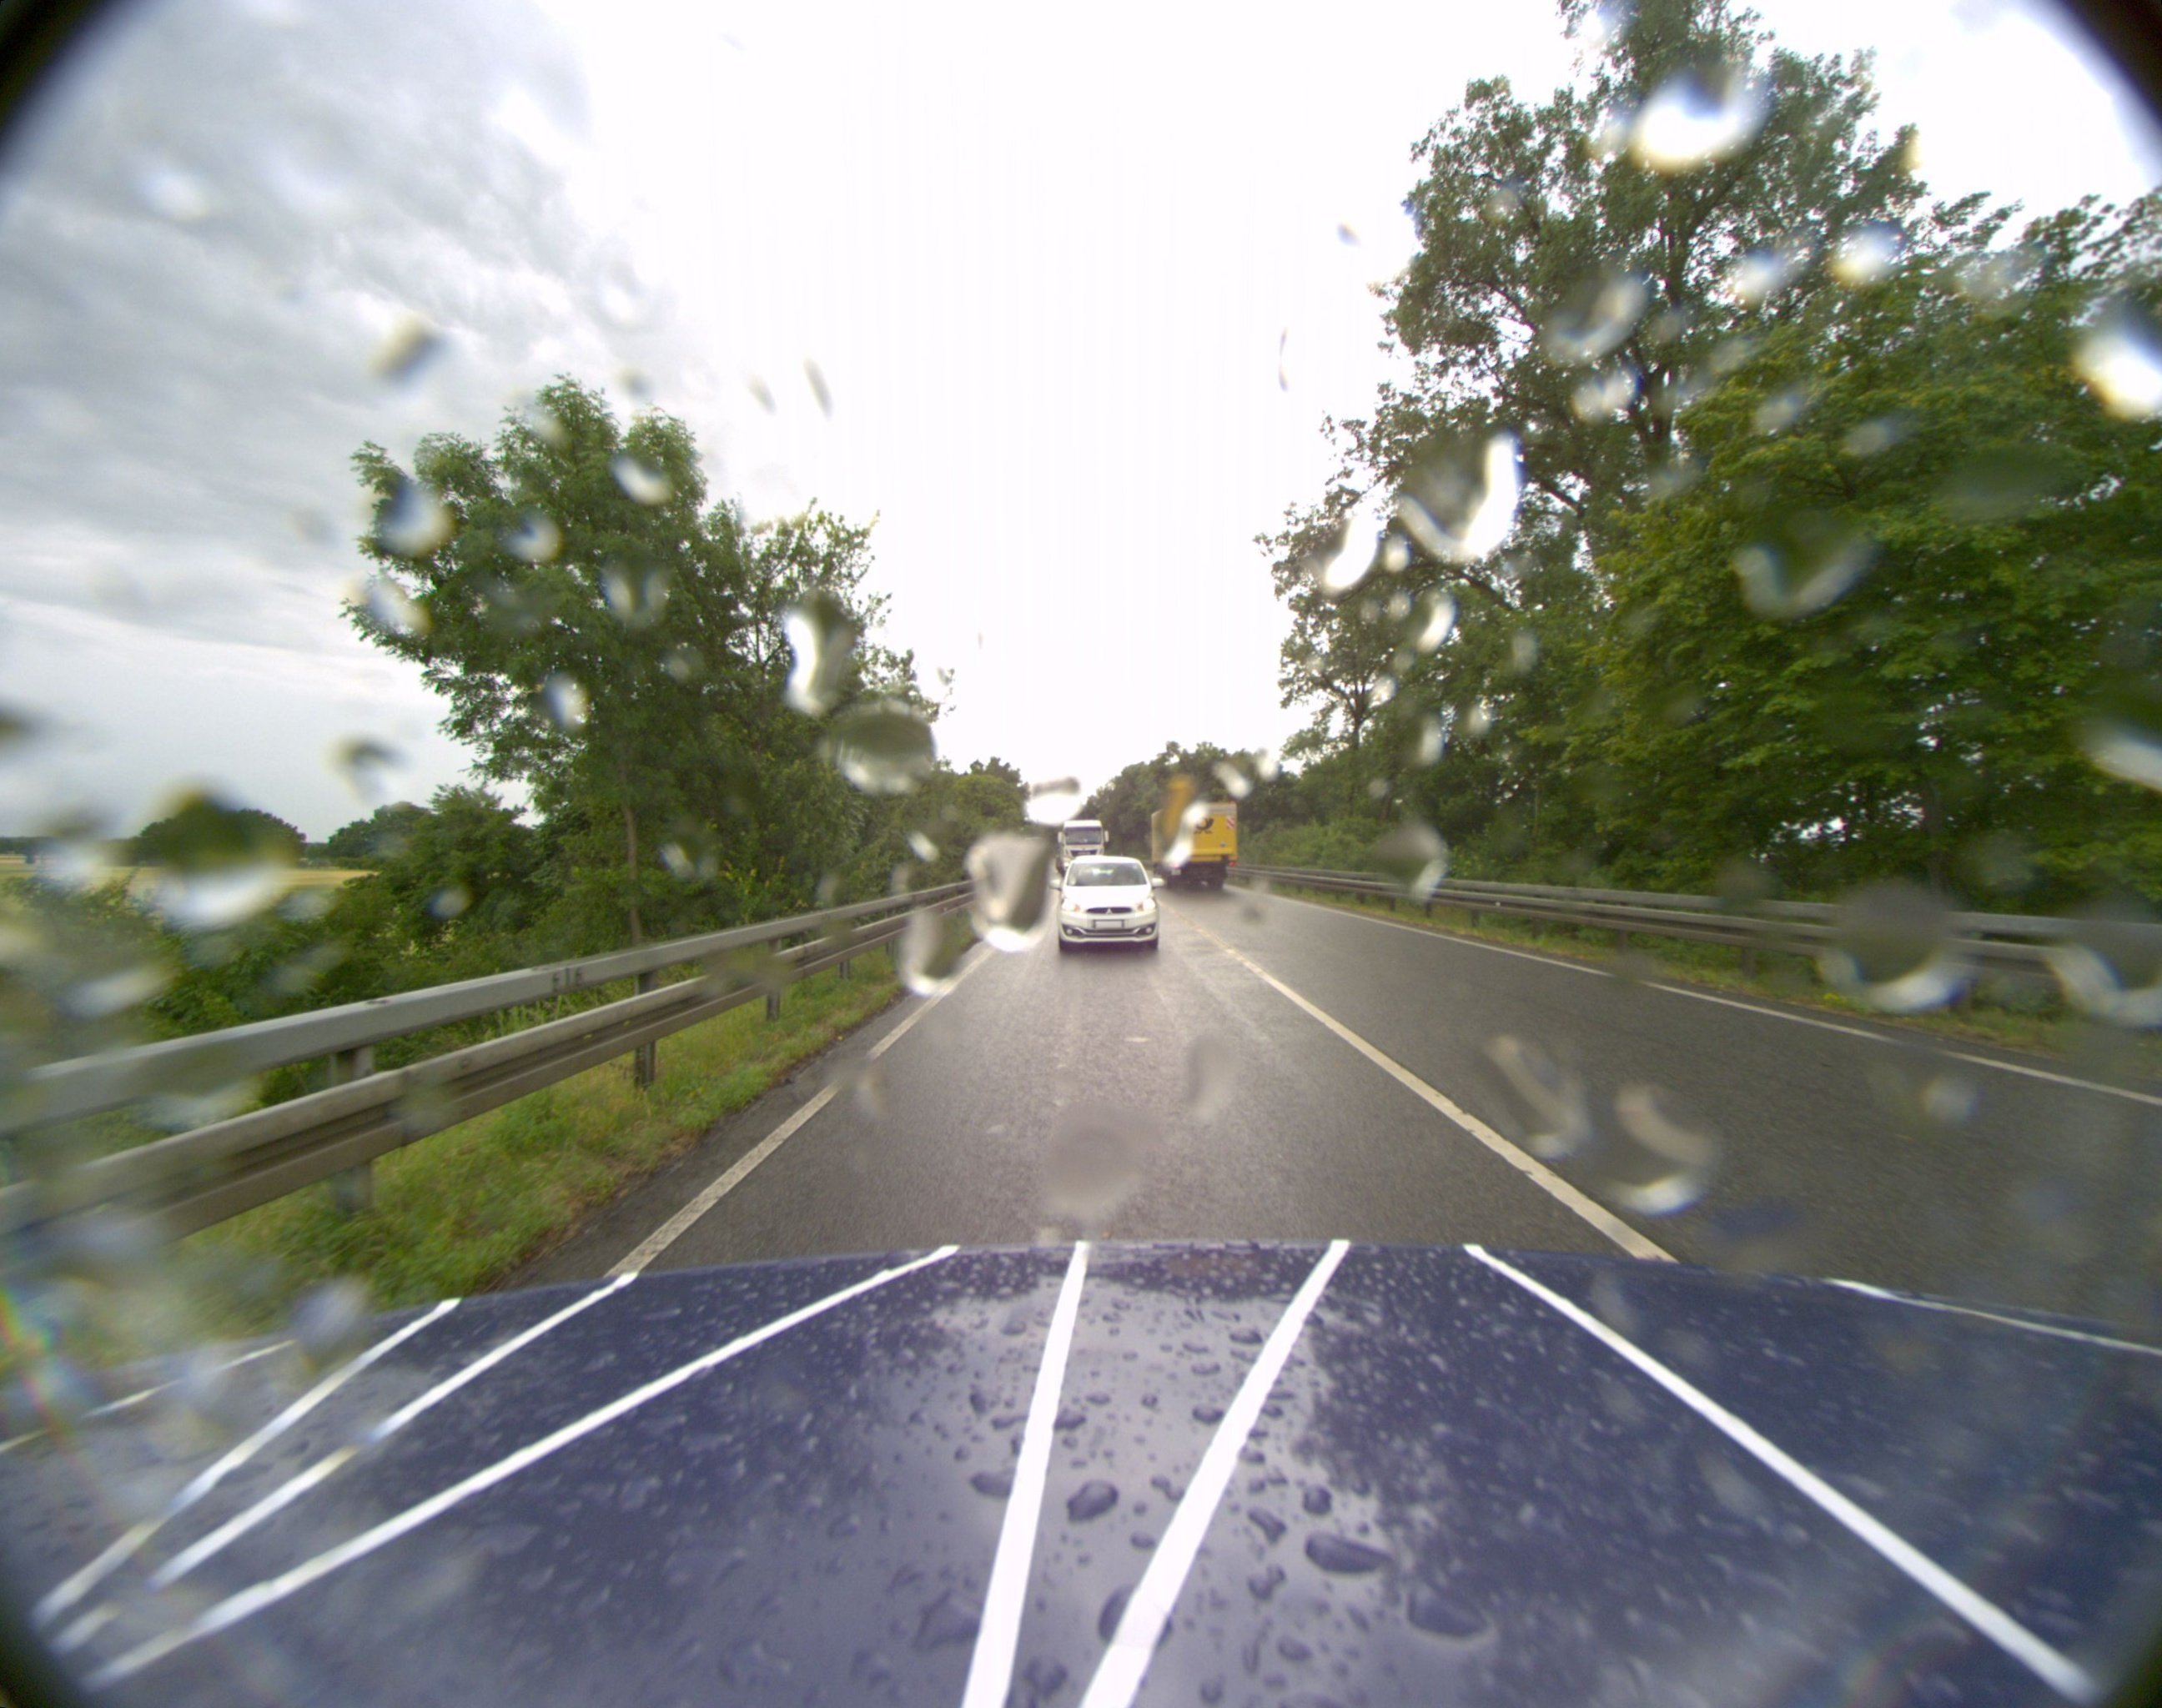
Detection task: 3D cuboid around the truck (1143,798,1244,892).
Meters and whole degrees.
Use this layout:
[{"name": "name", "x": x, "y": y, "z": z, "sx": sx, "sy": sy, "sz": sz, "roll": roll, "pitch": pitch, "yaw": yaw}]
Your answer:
[{"name": "truck", "x": 4.588, "y": -0.416, "z": 33.073, "sx": 2.778, "sy": 3.410, "sz": 9.184, "roll": -3, "pitch": 1, "yaw": -1}]

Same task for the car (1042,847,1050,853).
[{"name": "car", "x": -7.320, "y": -0.778, "z": 158.685, "sx": 1.247, "sy": 1.281, "sz": 2.880, "roll": -2, "pitch": 1, "yaw": -10}]

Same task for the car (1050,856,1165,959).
[{"name": "car", "x": 0.408, "y": 0.813, "z": 13.457, "sx": 1.701, "sy": 1.471, "sz": 4.062, "roll": -1, "pitch": 1, "yaw": 0}]

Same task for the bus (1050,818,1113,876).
[{"name": "bus", "x": -0.227, "y": -0.457, "z": 51.691, "sx": 3.064, "sy": 3.405, "sz": 13.633, "roll": -1, "pitch": 1, "yaw": -5}]

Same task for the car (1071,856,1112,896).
[{"name": "car", "x": 0.441, "y": 0.809, "z": 29.187, "sx": 1.475, "sy": 1.410, "sz": 3.429, "roll": -1, "pitch": 0, "yaw": 3}]

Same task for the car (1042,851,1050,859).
[{"name": "car", "x": -6.275, "y": 0.151, "z": 136.104, "sx": 1.393, "sy": 1.470, "sz": 3.226, "roll": 0, "pitch": 1, "yaw": -4}]
